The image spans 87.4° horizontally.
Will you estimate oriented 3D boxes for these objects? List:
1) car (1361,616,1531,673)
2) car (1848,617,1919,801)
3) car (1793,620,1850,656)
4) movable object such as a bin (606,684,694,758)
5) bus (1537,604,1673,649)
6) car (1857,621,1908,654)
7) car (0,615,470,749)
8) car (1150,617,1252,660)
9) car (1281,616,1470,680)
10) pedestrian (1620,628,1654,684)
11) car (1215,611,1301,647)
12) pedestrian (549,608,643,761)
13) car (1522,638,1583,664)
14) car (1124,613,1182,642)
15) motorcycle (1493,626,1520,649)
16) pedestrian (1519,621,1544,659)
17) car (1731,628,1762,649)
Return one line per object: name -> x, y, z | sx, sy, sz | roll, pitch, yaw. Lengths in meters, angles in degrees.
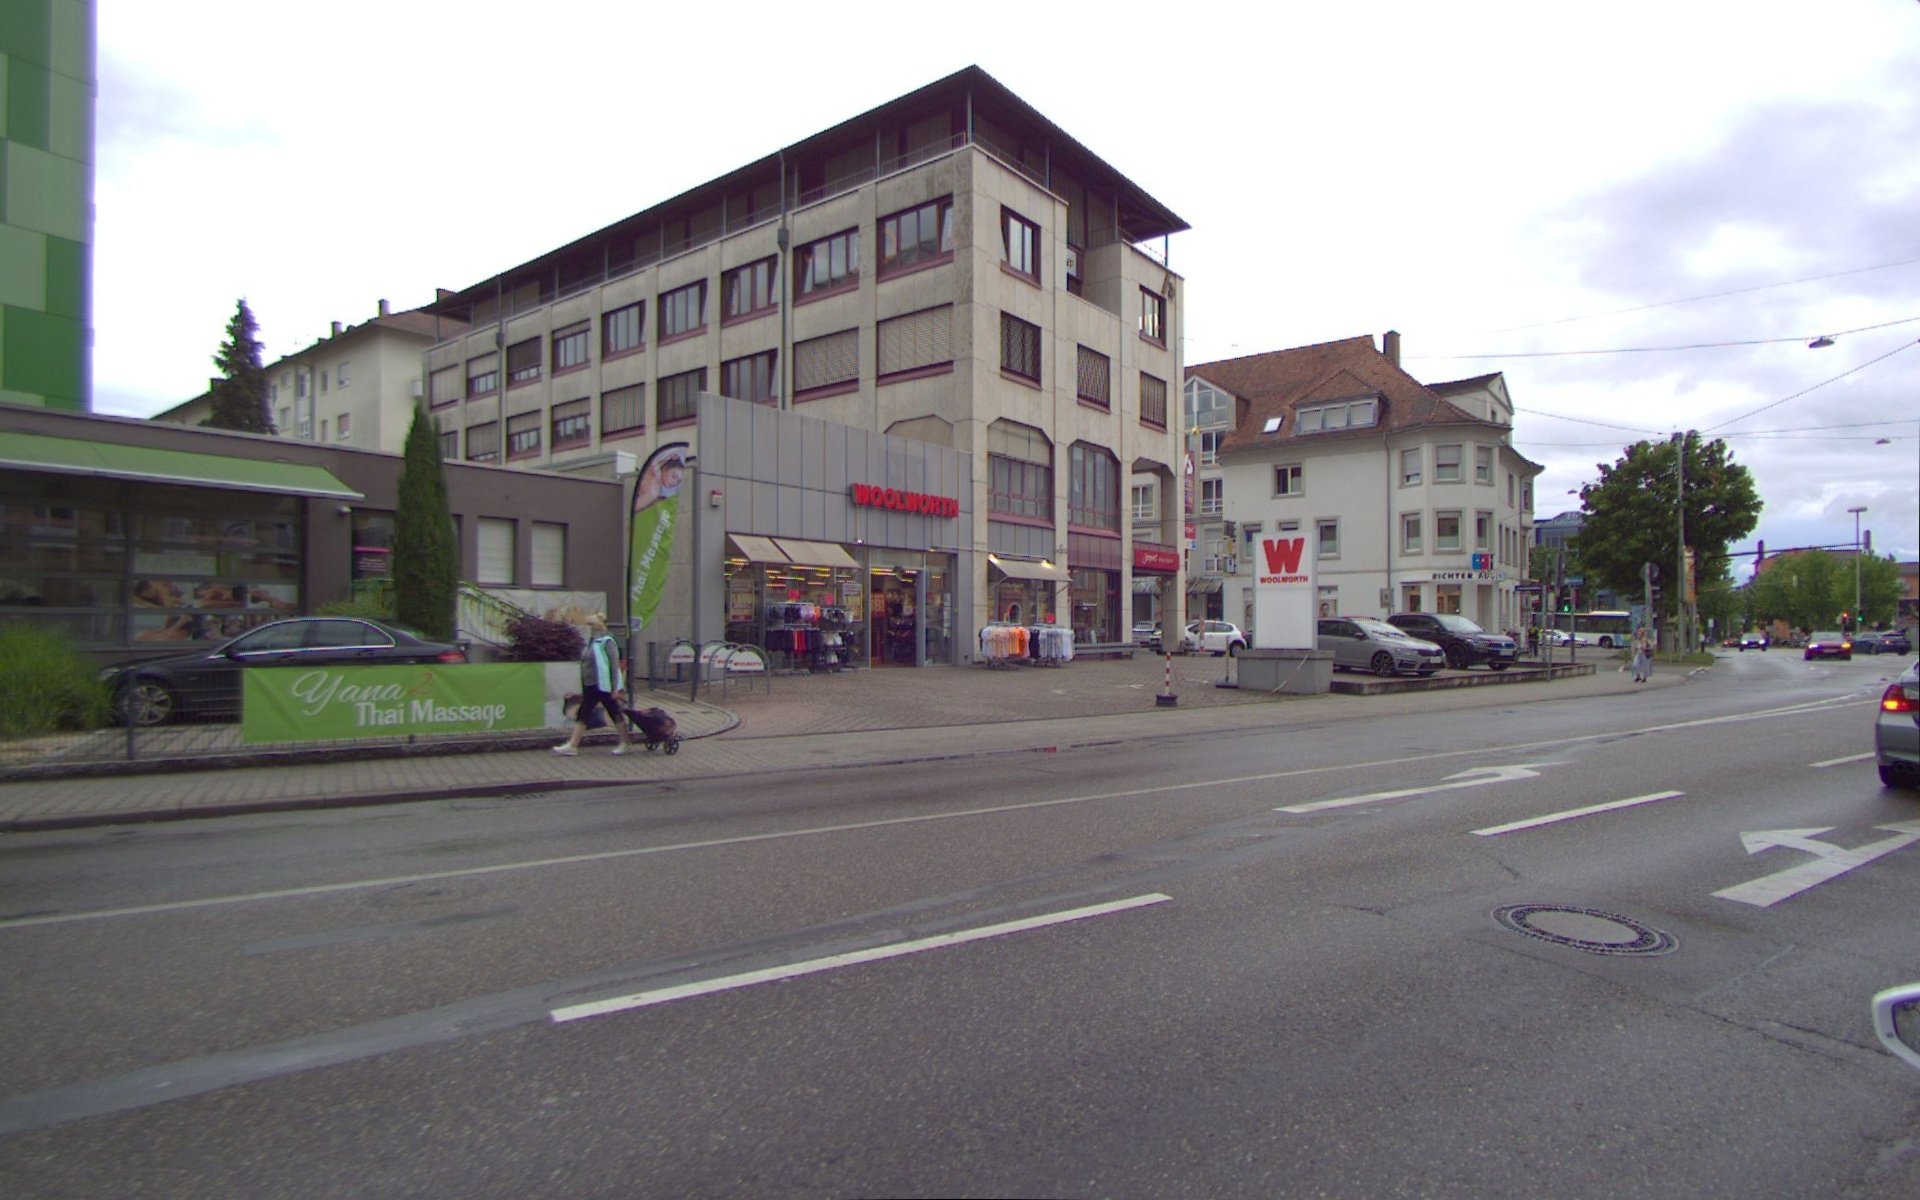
car -> 14.459, 1.262, 30.159 | 1.926, 1.526, 4.407 | 1, 0, -23
car -> 9.776, 0.940, 8.927 | 4.325, 1.483, 1.788 | 2, -1, -34
car -> 44.832, 1.953, 52.356 | 1.820, 1.706, 3.986 | 2, 1, 36
movable object such as a bin -> -3.694, 1.429, 12.023 | 0.718, 0.799, 0.755 | 0, -1, 13
bus -> 53.241, 2.110, 83.253 | 2.885, 3.147, 9.062 | 0, 2, -32
car -> 60.060, 2.406, 65.468 | 1.967, 2.040, 3.986 | -1, -1, 36
car -> -8.820, 0.925, 12.793 | 4.590, 1.458, 1.988 | 0, -1, -26
car -> 9.713, 1.560, 40.476 | 3.701, 1.519, 1.577 | 3, -2, -18
car -> 10.863, 1.213, 26.594 | 1.865, 1.546, 4.422 | 1, -2, -31
pedestrian -> 19.465, 1.594, 28.864 | 0.751, 1.550, 0.506 | 2, 0, 37
car -> 15.710, 1.523, 52.948 | 3.935, 1.839, 1.993 | -1, -1, 36
pedestrian -> -4.220, 0.958, 11.671 | 0.732, 1.708, 0.755 | -1, -1, 13
car -> 47.319, 4.052, 80.234 | 3.944, 1.906, 1.814 | -1, -2, 43
car -> 11.144, 1.560, 57.862 | 1.843, 1.612, 3.988 | -1, -1, 35
motorcycle -> 29.244, 1.992, 53.730 | 0.711, 1.194, 2.575 | -1, -1, 42
pedestrian -> 26.317, 1.820, 46.250 | 0.948, 1.731, 0.932 | -1, 0, 32
car -> 70.383, 3.399, 89.931 | 1.861, 1.840, 3.988 | -1, -1, 35
